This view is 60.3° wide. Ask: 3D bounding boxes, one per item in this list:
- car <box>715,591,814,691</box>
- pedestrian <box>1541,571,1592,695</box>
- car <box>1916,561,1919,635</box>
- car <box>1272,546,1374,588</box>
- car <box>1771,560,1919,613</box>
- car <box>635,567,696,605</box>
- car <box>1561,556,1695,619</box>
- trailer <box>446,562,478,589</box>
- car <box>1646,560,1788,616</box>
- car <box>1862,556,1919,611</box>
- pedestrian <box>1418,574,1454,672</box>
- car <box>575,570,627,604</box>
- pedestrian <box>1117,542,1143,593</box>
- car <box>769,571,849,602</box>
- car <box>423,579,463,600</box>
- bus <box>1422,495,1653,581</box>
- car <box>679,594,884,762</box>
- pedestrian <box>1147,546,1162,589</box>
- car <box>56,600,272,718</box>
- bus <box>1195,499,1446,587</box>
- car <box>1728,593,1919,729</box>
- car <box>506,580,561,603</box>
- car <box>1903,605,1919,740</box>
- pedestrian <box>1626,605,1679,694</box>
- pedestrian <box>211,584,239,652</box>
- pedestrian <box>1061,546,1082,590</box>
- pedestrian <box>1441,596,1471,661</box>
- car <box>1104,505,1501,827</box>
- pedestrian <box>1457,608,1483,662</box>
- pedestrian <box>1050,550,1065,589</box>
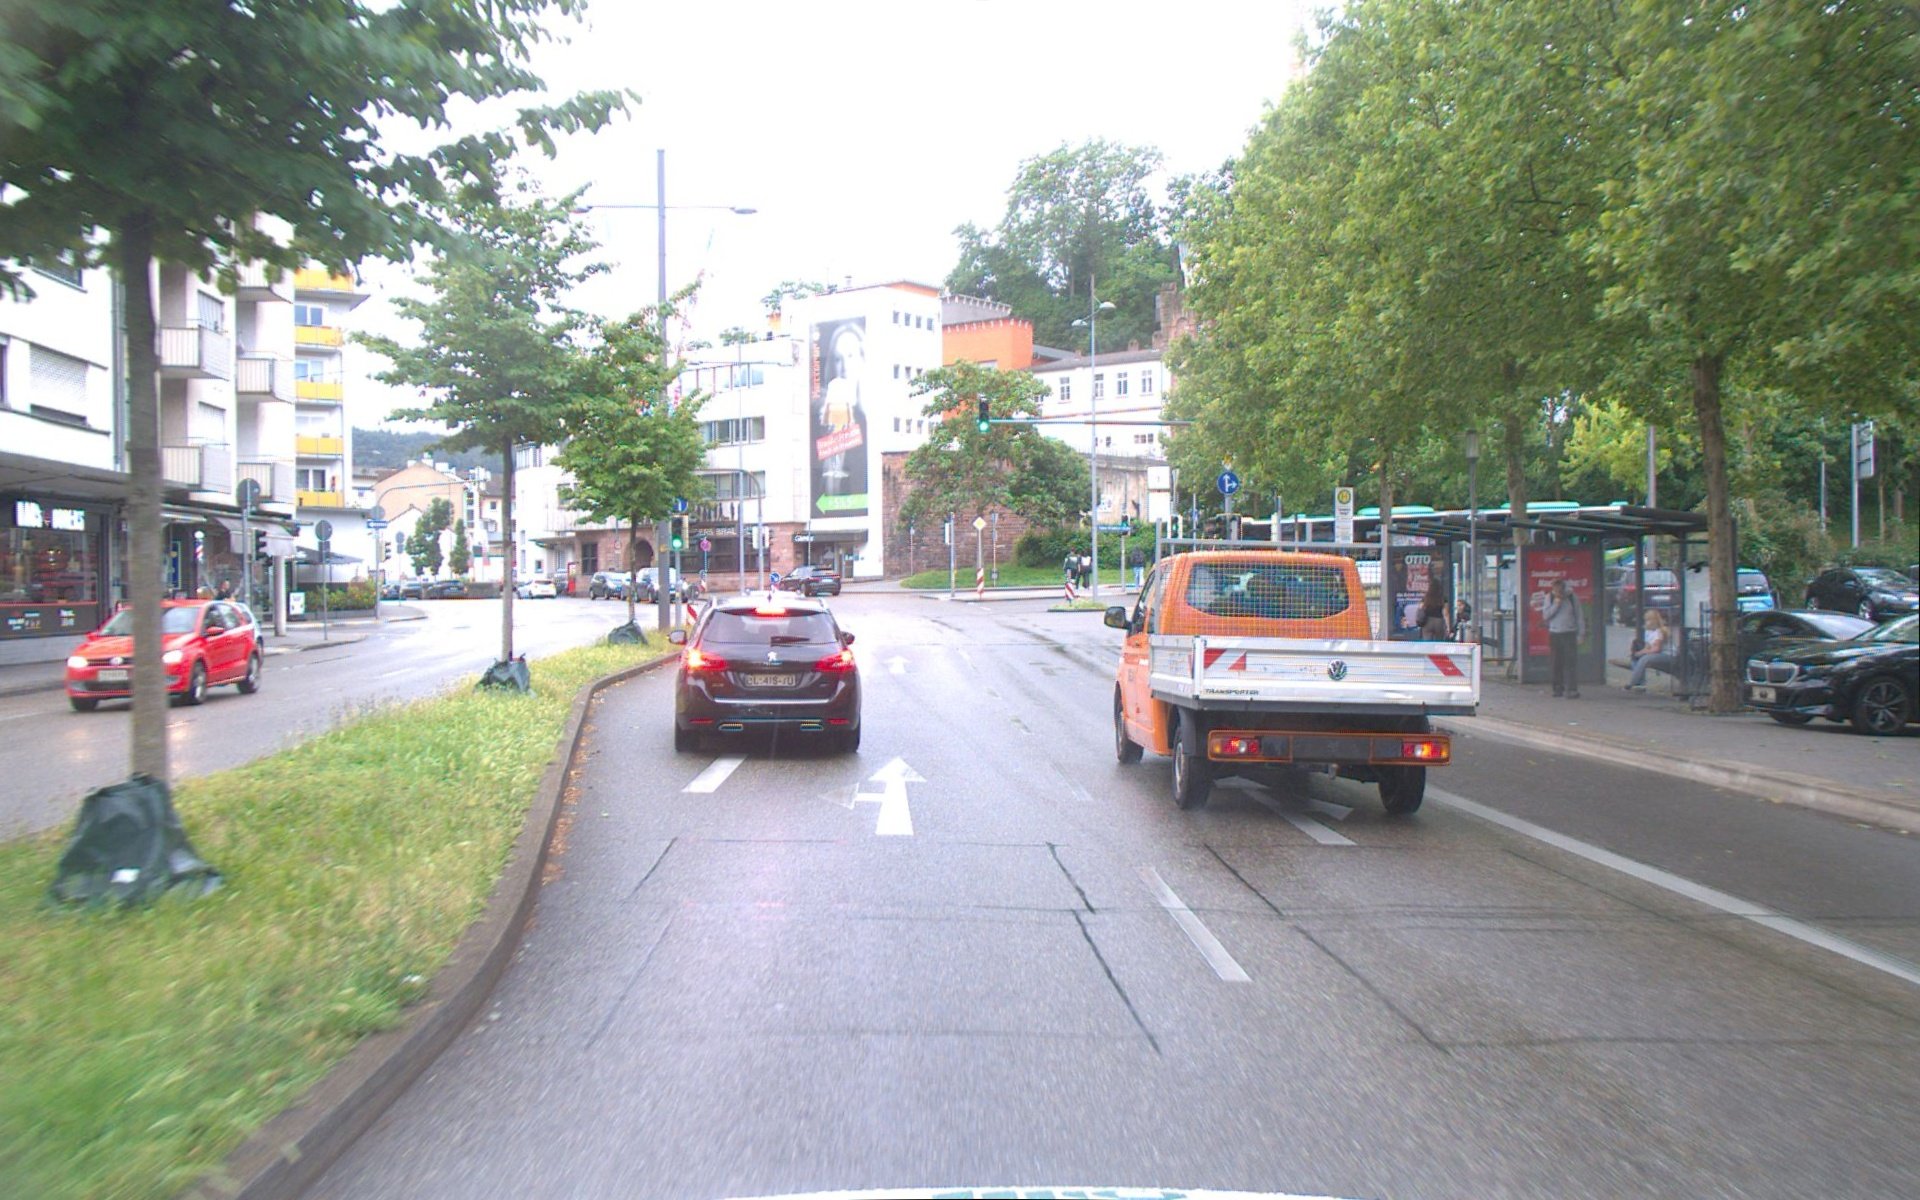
[{"bbox_3d":[-3.246,0.633,27.940,1.507,1.487,3.626,-1,1,-5],"label":"car"},{"bbox_3d":[9.324,0.497,25.443,0.716,1.874,0.758,0,0,20],"label":"pedestrian"},{"bbox_3d":[22.058,0.014,34.359,1.723,1.618,4.173,-2,2,-5],"label":"car"},{"bbox_3d":[13.726,-1.251,62.645,3.488,1.476,1.589,-1,3,-5],"label":"car"},{"bbox_3d":[25.251,-0.412,47.251,1.815,1.378,4.258,-1,2,-5],"label":"car"},{"bbox_3d":[-13.580,-0.659,76.164,1.734,1.642,4.178,-2,2,-25],"label":"car"},{"bbox_3d":[18.942,-0.397,47.109,1.765,1.641,4.258,-1,2,-5],"label":"car"},{"bbox_3d":[-52.925,-2.576,175.754,2.104,2.763,5.339,-4,2,-29],"label":"trailer"},{"bbox_3d":[21.501,-0.384,47.167,1.815,1.465,4.258,-1,2,-5],"label":"car"},{"bbox_3d":[27.646,-0.476,46.670,1.815,1.505,4.258,-1,2,-5],"label":"car"},{"bbox_3d":[8.532,0.407,29.631,0.529,1.725,0.555,0,2,26],"label":"pedestrian"},{"bbox_3d":[-18.755,-0.695,86.301,1.734,1.642,4.178,-2,2,-25],"label":"car"},{"bbox_3d":[6.974,-1.320,67.827,0.771,2.048,0.587,-1,3,33],"label":"pedestrian"},{"bbox_3d":[-7.391,-0.652,80.394,1.776,1.427,4.573,0,0,-37],"label":"car"},{"bbox_3d":[-37.649,-0.783,120.365,1.652,1.420,3.818,-2,2,-36],"label":"car"},{"bbox_3d":[23.136,-2.509,66.492,8.361,3.235,2.687,-1,3,-3],"label":"bus"},{"bbox_3d":[-1.940,0.677,16.838,1.766,1.459,4.386,0,0,-10],"label":"car"},{"bbox_3d":[7.961,-1.329,67.673,0.544,1.735,0.529,-2,2,7],"label":"pedestrian"},{"bbox_3d":[-11.389,0.781,23.947,1.573,1.455,3.939,-3,1,-7],"label":"car"},{"bbox_3d":[14.323,-2.292,65.987,9.436,3.272,2.704,-1,3,-4],"label":"bus"},{"bbox_3d":[11.832,0.744,19.888,4.312,1.510,1.863,2,0,-2],"label":"car"},{"bbox_3d":[-28.307,-0.578,109.707,3.796,1.420,1.662,3,3,40],"label":"car"},{"bbox_3d":[12.553,0.863,17.029,4.643,1.429,1.862,2,0,-2],"label":"car"},{"bbox_3d":[10.667,0.757,25.480,0.618,1.345,0.626,0,0,9],"label":"pedestrian"},{"bbox_3d":[-19.315,0.467,43.487,0.443,1.760,0.524,3,1,-2],"label":"pedestrian"},{"bbox_3d":[4.787,-1.382,70.940,0.861,1.863,0.729,0,0,-1],"label":"pedestrian"},{"bbox_3d":[10.112,0.583,33.717,0.488,1.293,0.401,-1,2,-2],"label":"pedestrian"},{"bbox_3d":[2.512,0.419,13.708,2.059,2.126,5.540,0,0,-1],"label":"car"},{"bbox_3d":[10.252,0.704,33.249,0.392,1.052,0.370,-1,2,-2],"label":"pedestrian"},{"bbox_3d":[4.184,-1.297,71.021,0.554,1.644,0.691,1,-1,0],"label":"pedestrian"}]
